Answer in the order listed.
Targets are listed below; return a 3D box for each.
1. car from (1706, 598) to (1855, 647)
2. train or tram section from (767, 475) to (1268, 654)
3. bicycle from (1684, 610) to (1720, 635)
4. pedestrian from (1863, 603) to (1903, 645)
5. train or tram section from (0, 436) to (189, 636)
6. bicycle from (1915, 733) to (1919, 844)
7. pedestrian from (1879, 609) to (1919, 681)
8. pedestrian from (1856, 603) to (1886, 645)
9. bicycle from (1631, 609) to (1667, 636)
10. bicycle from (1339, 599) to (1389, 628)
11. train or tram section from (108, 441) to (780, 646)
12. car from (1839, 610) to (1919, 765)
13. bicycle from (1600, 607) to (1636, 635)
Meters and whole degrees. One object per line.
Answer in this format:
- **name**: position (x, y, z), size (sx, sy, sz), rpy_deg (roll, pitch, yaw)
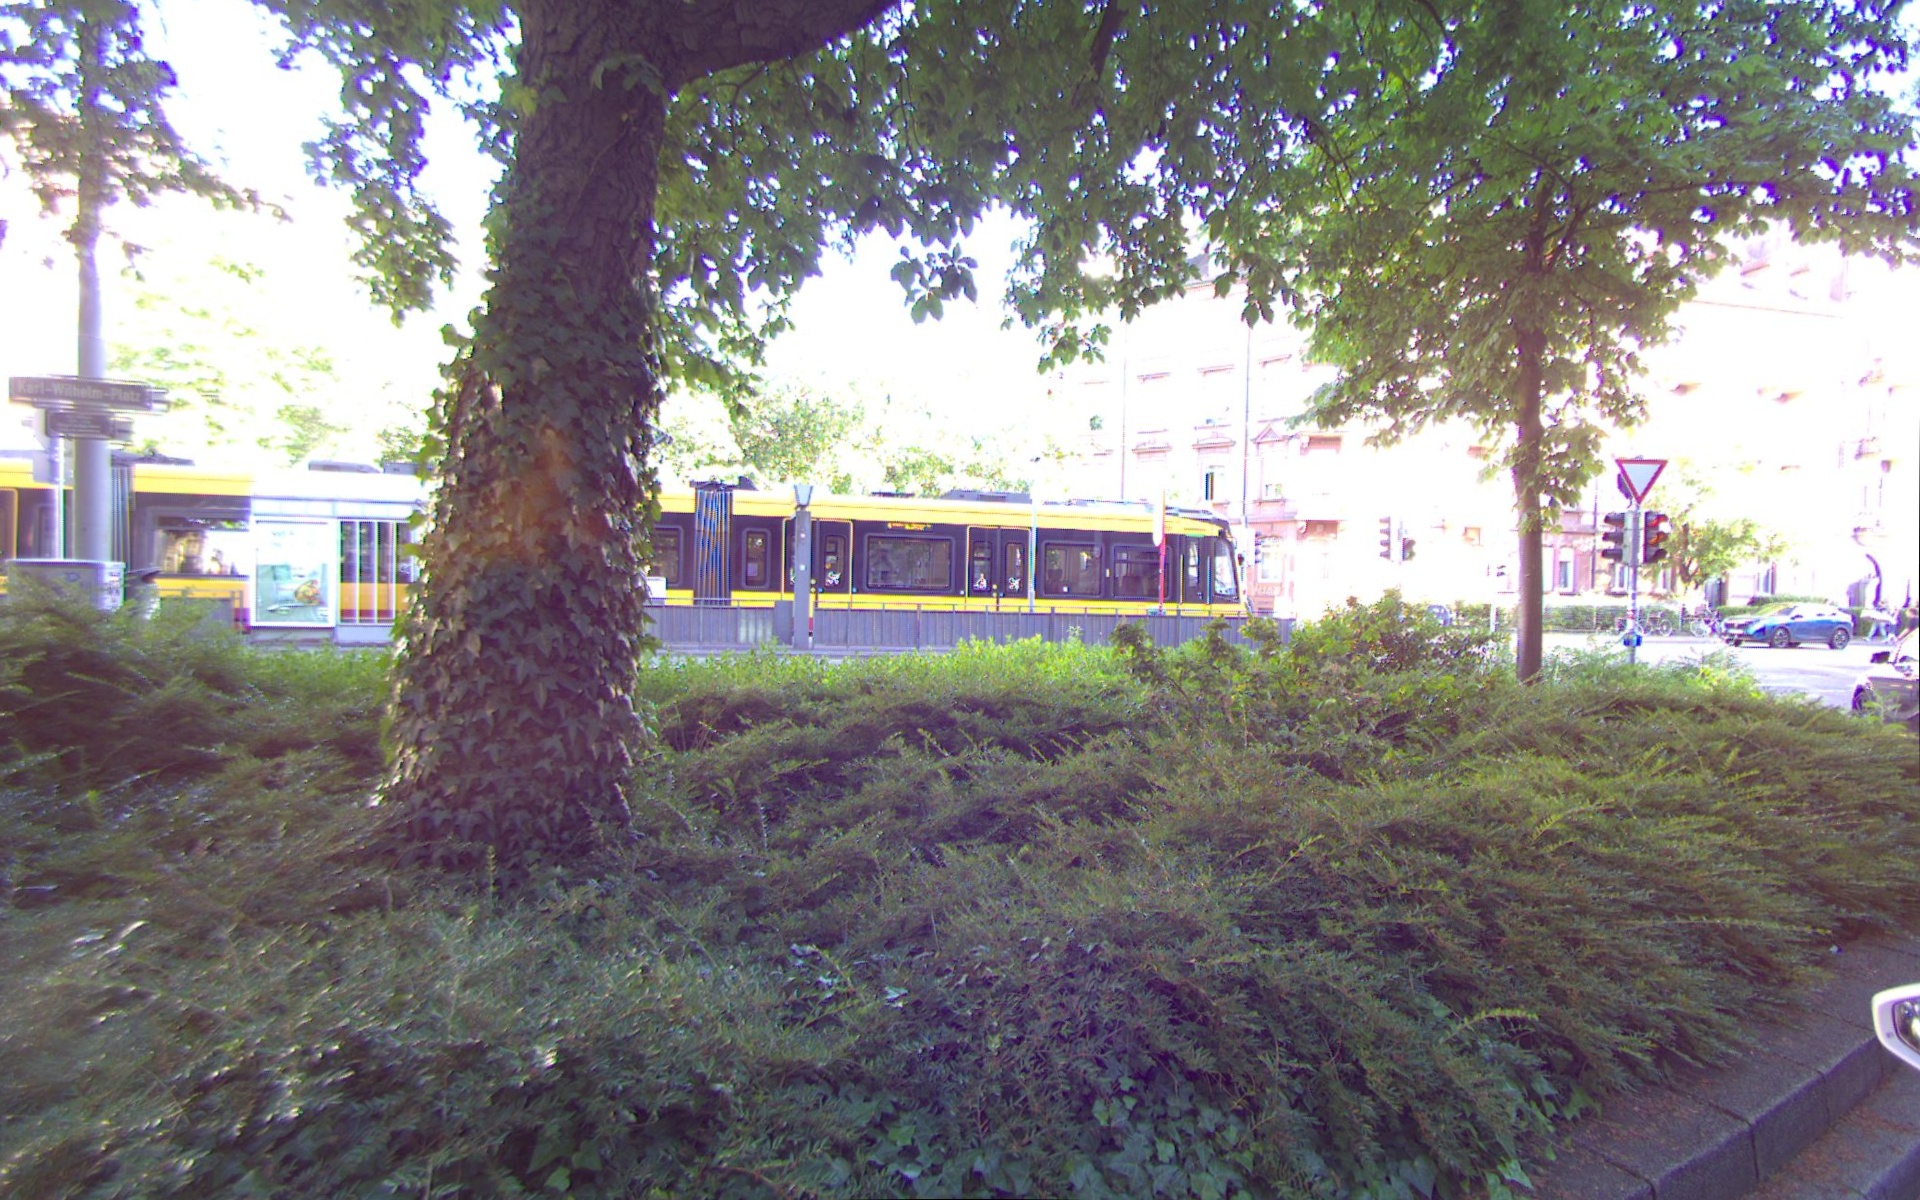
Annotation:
- **car**: position (30.006, 0.807, 36.781), size (4.333, 1.672, 1.944), rpy_deg (1, 1, -12)
- **train or tram section**: position (1.355, -0.712, 24.044), size (11.598, 3.668, 2.793), rpy_deg (1, 1, -13)
- **bicycle**: position (31.593, 0.957, 42.768), size (1.211, 1.052, 0.442), rpy_deg (1, 2, -8)
- **pedestrian**: position (38.592, 1.010, 42.024), size (0.880, 1.688, 0.712), rpy_deg (1, 4, 5)
- **train or tram section**: position (-22.133, -1.309, 18.517), size (12.463, 3.605, 2.766), rpy_deg (1, 1, -13)
- **bicycle**: position (6.097, 1.018, 5.456), size (0.706, 1.122, 1.964), rpy_deg (2, 1, 26)
- **pedestrian**: position (23.078, 1.087, 24.465), size (0.891, 1.657, 0.722), rpy_deg (5, 4, 40)
- **pedestrian**: position (39.102, 1.031, 43.135), size (0.624, 1.738, 0.664), rpy_deg (1, 1, 1)
- **bicycle**: position (29.063, 0.948, 42.379), size (1.210, 1.122, 0.442), rpy_deg (1, 2, -7)
- **bicycle**: position (17.583, 0.578, 43.736), size (1.928, 1.122, 0.443), rpy_deg (3, 2, 22)
- **train or tram section**: position (-10.114, -1.008, 21.341), size (12.206, 3.635, 2.779), rpy_deg (1, 1, -13)
- **car**: position (10.758, 0.890, 10.244), size (1.762, 1.562, 3.855), rpy_deg (0, 0, 27)
- **bicycle**: position (27.673, 0.879, 42.235), size (1.210, 1.122, 0.442), rpy_deg (1, 2, -7)
